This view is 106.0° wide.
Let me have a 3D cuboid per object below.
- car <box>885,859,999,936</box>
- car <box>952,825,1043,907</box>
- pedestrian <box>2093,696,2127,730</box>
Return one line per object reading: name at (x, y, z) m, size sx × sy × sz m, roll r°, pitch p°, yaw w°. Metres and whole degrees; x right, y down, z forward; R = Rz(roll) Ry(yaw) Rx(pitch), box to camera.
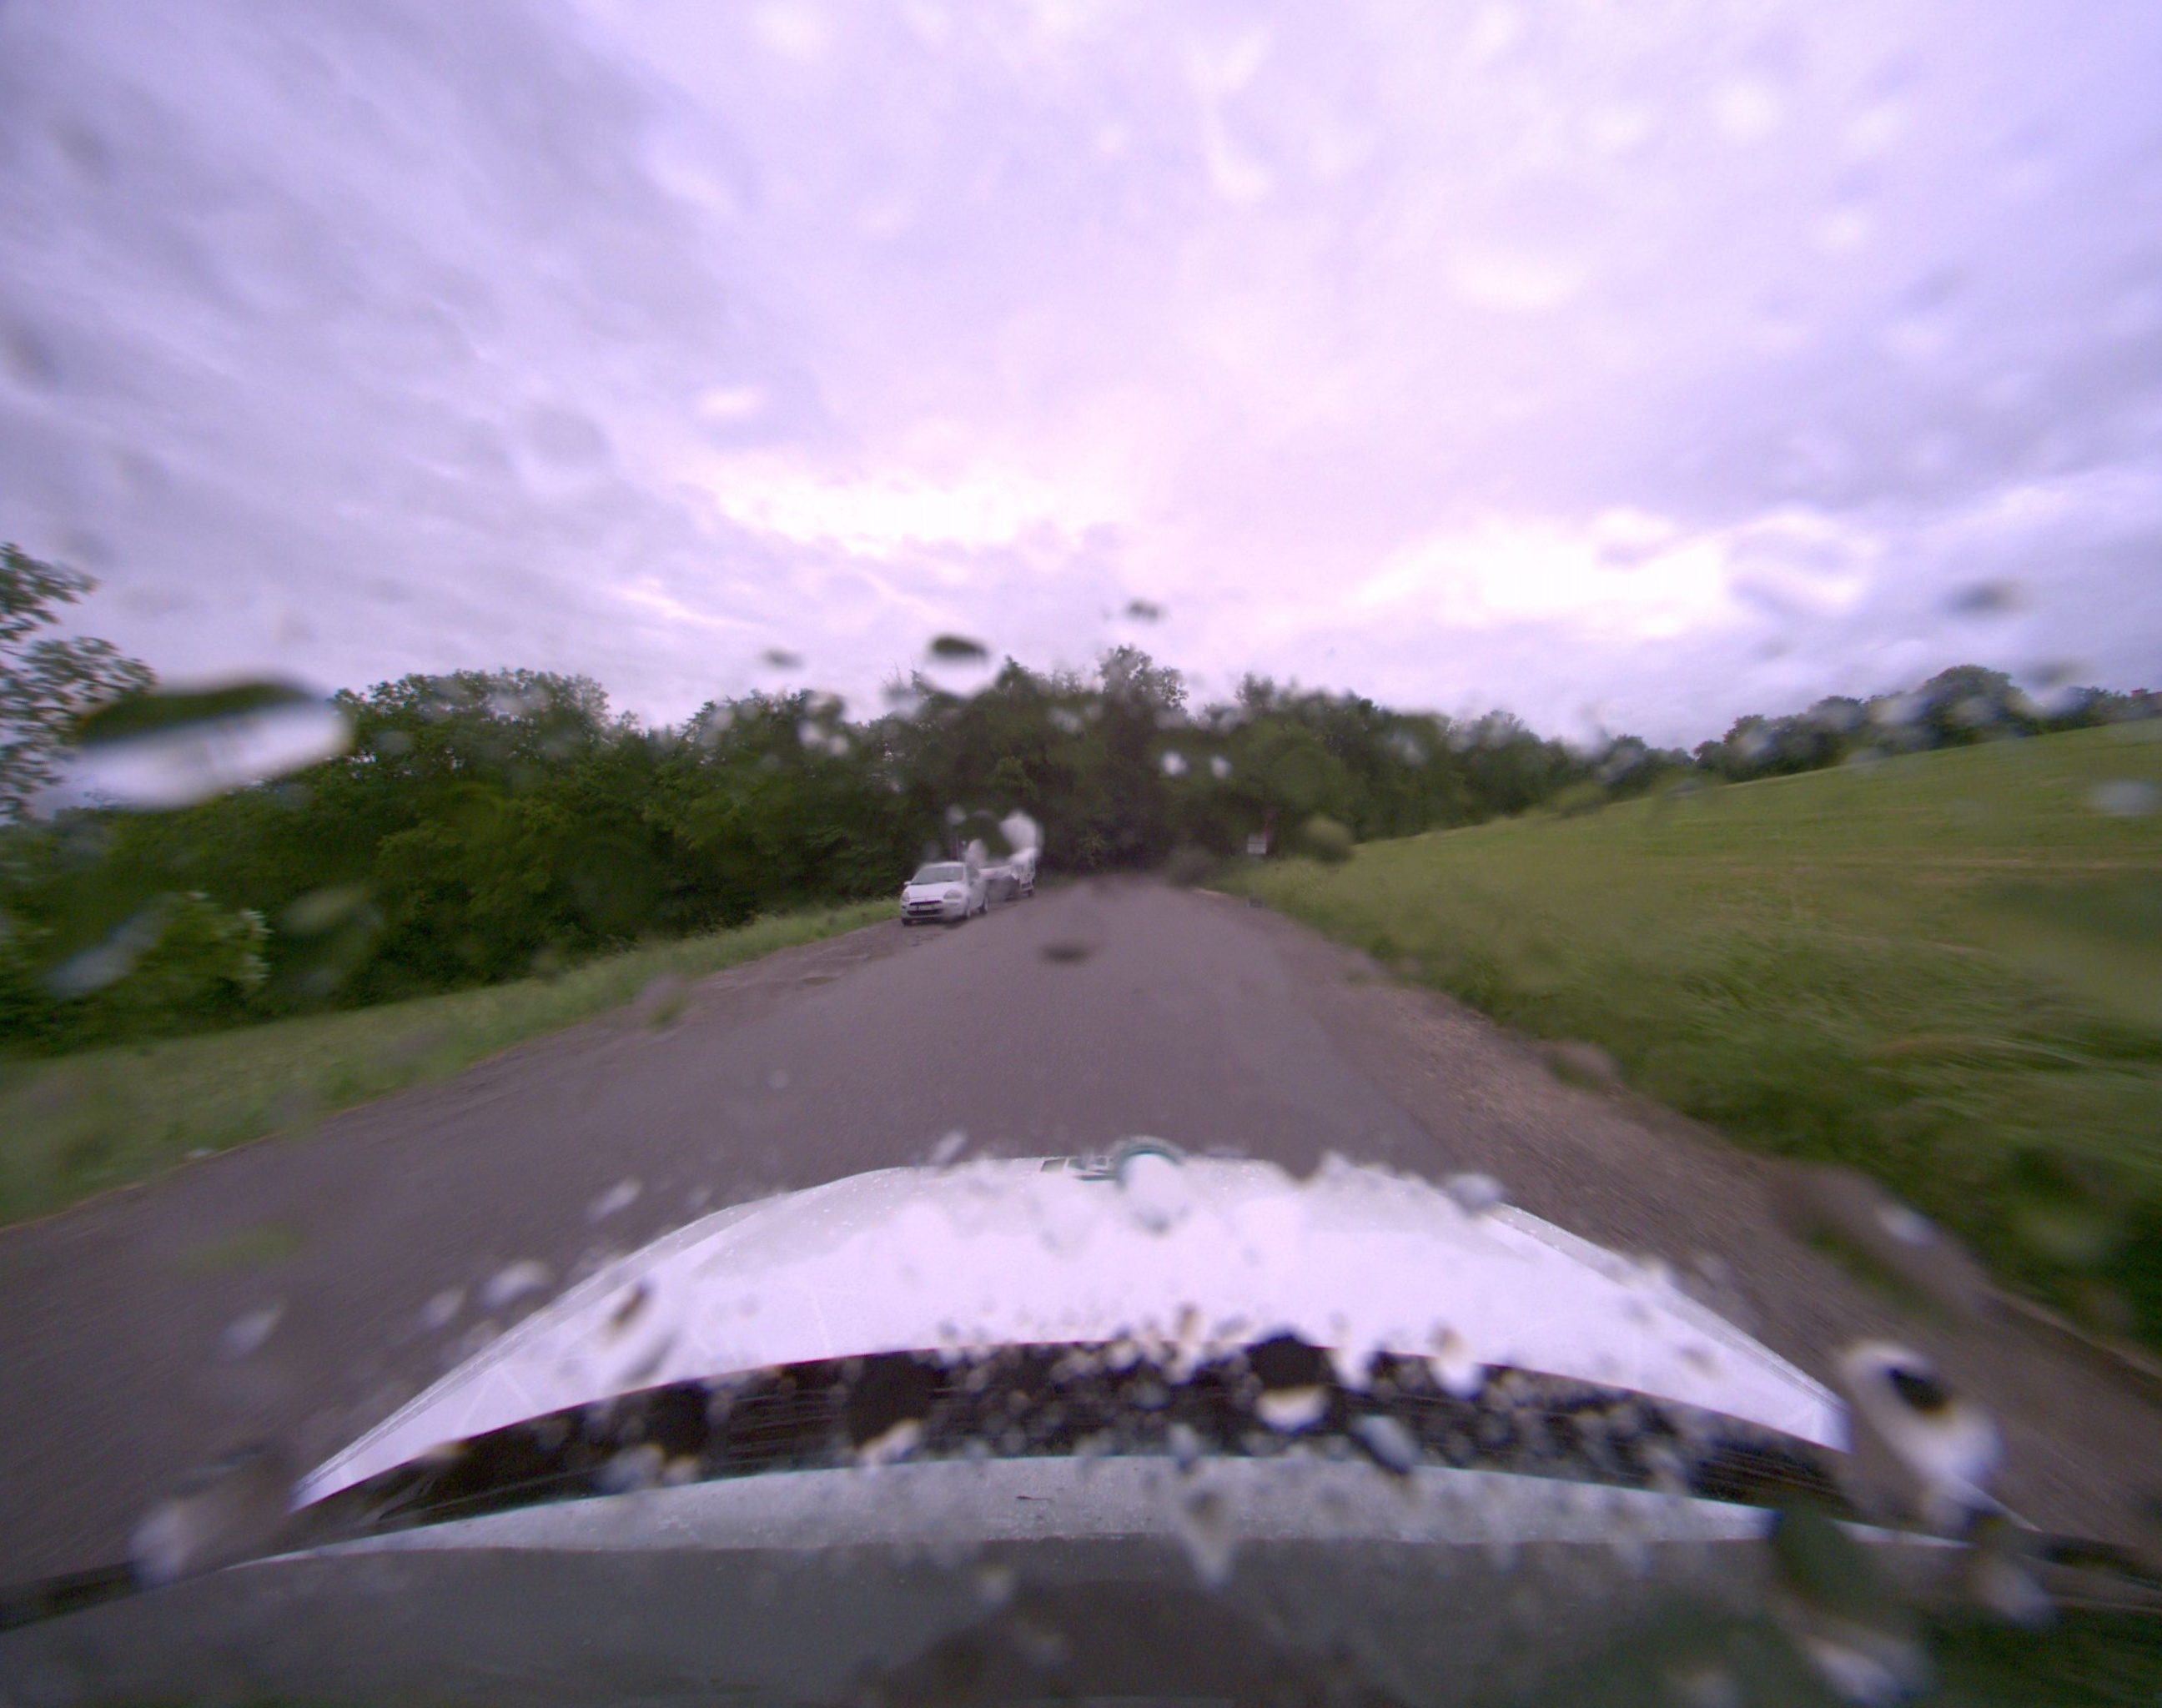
car at (-3.548, 1.056, 21.669) m, size 1.853 × 1.595 × 4.500 m, roll -4°, pitch 1°, yaw 4°
car at (-3.075, 0.367, 31.596) m, size 2.263 × 2.696 × 6.056 m, roll -5°, pitch 1°, yaw 4°
pedestrian at (58.338, -7.992, 46.185) m, size 0.918 × 1.736 × 0.808 m, roll -2°, pitch 1°, yaw 23°
